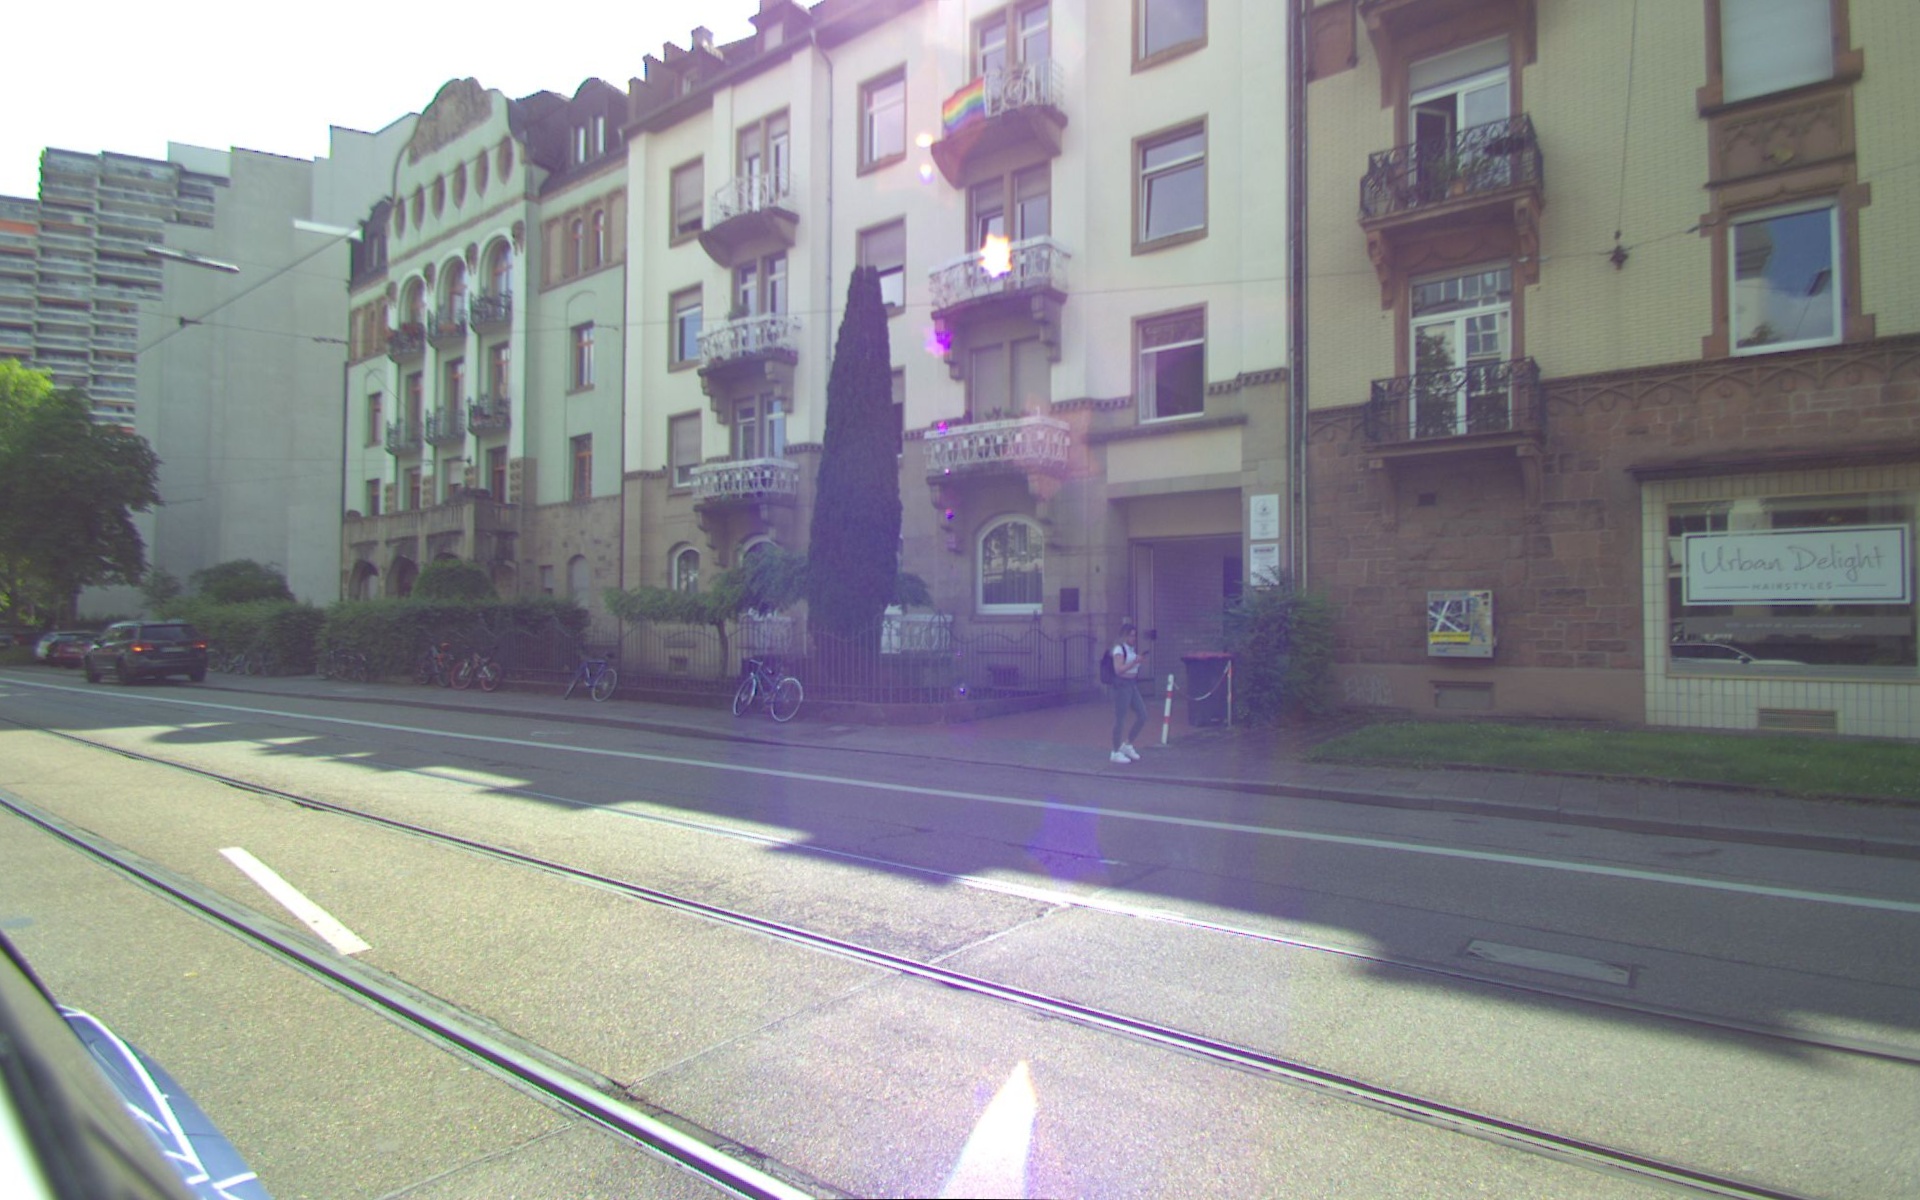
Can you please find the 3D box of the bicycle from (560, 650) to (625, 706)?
[{"bbox_3d":[-7.139,1.490,19.609,0.461,1.003,1.788,2,-3,-45],"label":"bicycle"}]

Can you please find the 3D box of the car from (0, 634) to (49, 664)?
[{"bbox_3d":[-49.132,2.495,51.605,3.938,1.519,2.002,2,-3,-42],"label":"car"}]

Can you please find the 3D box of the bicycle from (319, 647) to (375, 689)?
[{"bbox_3d":[-15.619,1.705,25.775,1.979,1.003,0.597,-2,-3,40],"label":"bicycle"}]

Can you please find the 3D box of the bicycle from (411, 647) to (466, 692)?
[{"bbox_3d":[-12.144,1.601,23.566,1.785,1.003,0.462,-2,-3,40],"label":"bicycle"}]

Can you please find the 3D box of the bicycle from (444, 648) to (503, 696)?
[{"bbox_3d":[-10.727,1.566,22.303,1.785,1.003,0.462,-2,-3,40],"label":"bicycle"}]

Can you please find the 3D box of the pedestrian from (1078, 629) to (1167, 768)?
[{"bbox_3d":[1.911,1.117,11.880,0.764,1.553,0.749,-2,-3,39],"label":"pedestrian"}]

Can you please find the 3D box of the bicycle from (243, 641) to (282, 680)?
[{"bbox_3d":[-20.986,1.811,30.433,1.785,1.144,0.462,-2,-3,40],"label":"bicycle"}]

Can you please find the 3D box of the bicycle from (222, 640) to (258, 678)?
[{"bbox_3d":[-22.512,1.829,31.634,1.785,1.144,0.462,-2,-3,40],"label":"bicycle"}]

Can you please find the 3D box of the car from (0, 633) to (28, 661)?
[{"bbox_3d":[-54.016,2.601,55.686,3.938,1.519,2.002,2,-3,-42],"label":"car"}]

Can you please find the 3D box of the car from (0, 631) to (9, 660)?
[{"bbox_3d":[-56.917,2.580,57.632,3.938,1.695,2.002,2,-3,-42],"label":"car"}]

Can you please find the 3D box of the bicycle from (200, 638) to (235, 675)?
[{"bbox_3d":[-24.167,1.826,32.923,1.785,1.144,0.462,-2,-3,40],"label":"bicycle"}]

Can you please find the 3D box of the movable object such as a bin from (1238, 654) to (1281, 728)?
[{"bbox_3d":[4.302,1.297,14.552,0.531,1.037,0.475,0,-2,11],"label":"movable object such as a bin"}]

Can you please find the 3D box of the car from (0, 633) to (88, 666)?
[{"bbox_3d":[-43.992,2.328,47.981,3.938,1.519,2.002,2,-3,-42],"label":"car"}]

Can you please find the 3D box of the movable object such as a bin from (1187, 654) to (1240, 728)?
[{"bbox_3d":[3.653,1.301,14.609,0.697,1.037,0.475,0,-2,11],"label":"movable object such as a bin"}]

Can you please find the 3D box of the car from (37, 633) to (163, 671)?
[{"bbox_3d":[-36.070,2.135,42.508,3.938,1.519,2.002,2,-3,-42],"label":"car"}]

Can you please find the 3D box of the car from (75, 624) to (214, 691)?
[{"bbox_3d":[-22.720,1.550,28.155,4.392,1.708,1.899,-1,-2,36],"label":"car"}]

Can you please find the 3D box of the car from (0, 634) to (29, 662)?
[{"bbox_3d":[-51.825,2.525,53.385,3.938,1.519,2.002,2,-3,-42],"label":"car"}]

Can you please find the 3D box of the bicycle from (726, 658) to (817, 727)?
[{"bbox_3d":[-3.065,1.457,16.310,0.461,1.003,1.980,2,-3,-43],"label":"bicycle"}]

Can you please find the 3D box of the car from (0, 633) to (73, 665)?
[{"bbox_3d":[-46.449,2.405,49.957,3.938,1.519,2.002,2,-3,-42],"label":"car"}]

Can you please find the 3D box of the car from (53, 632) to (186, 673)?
[{"bbox_3d":[-33.386,2.051,40.255,3.938,1.519,2.002,2,-3,-42],"label":"car"}]

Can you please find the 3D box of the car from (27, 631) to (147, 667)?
[{"bbox_3d":[-38.678,2.131,44.920,3.938,1.519,2.002,2,-3,-42],"label":"car"}]
